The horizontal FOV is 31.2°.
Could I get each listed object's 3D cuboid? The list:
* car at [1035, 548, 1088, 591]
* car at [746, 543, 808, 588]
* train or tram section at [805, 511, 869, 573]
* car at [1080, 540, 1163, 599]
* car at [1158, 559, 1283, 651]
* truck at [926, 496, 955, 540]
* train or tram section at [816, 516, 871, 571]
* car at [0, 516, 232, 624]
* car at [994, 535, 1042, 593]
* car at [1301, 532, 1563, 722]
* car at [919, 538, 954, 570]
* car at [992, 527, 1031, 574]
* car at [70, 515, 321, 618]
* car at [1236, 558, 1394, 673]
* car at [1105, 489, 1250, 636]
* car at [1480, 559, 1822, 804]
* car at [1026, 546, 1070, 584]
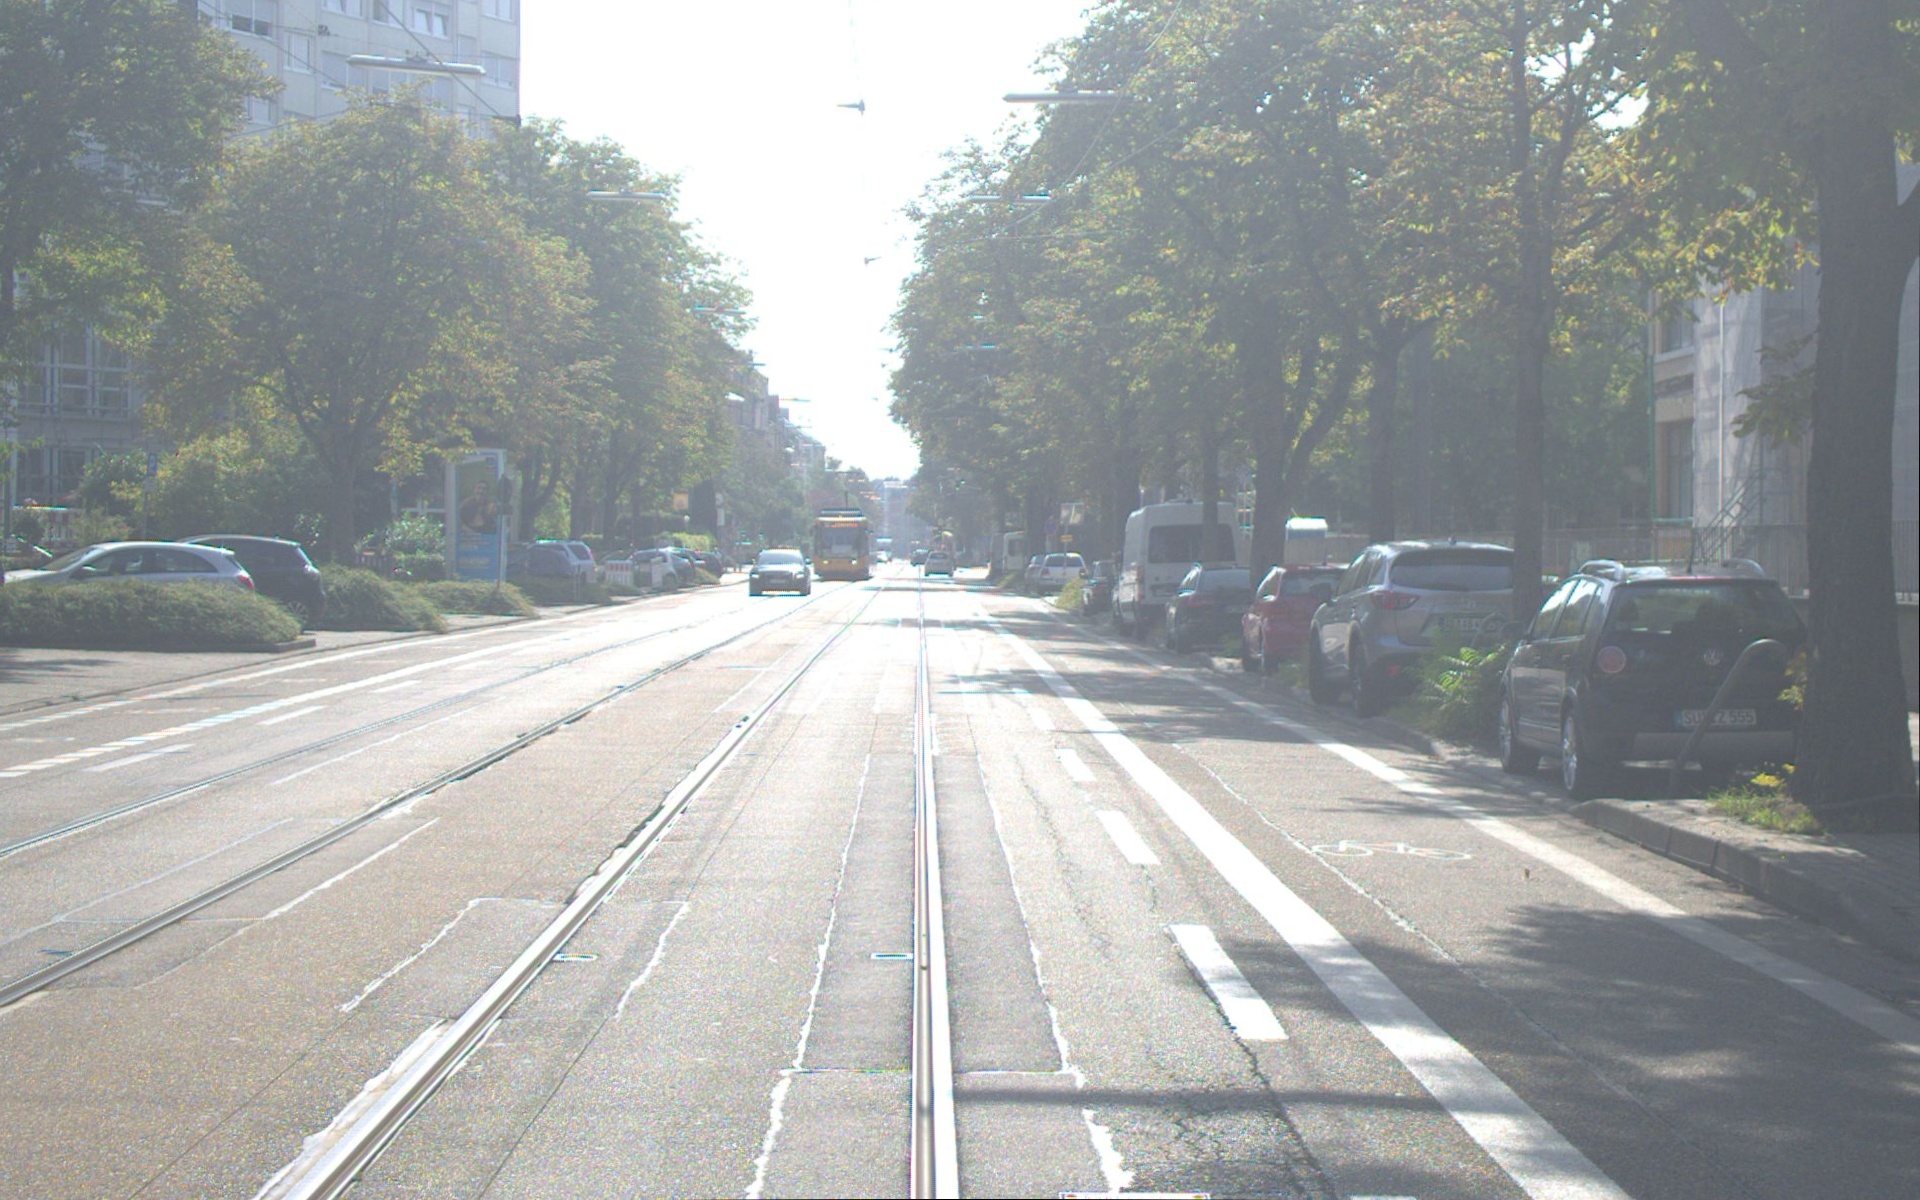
[{"bbox_3d":[3.457,-1.048,117.356,1.689,1.413,3.634,1,1,0],"label":"car"},{"bbox_3d":[-5.746,-1.092,108.302,1.828,1.371,4.513,1,1,-1],"label":"car"},{"bbox_3d":[-6.009,-2.837,170.230,2.729,2.884,15.456,1,1,-1],"label":"train or tram section"},{"bbox_3d":[3.902,-0.765,83.848,1.753,1.373,4.719,-1,1,0],"label":"car"},{"bbox_3d":[4.080,0.050,54.431,1.616,1.369,4.827,0,1,0],"label":"car"},{"bbox_3d":[-1.408,-5.912,248.803,1.860,3.120,4.353,1,1,-3],"label":"truck"},{"bbox_3d":[-6.121,-2.951,181.255,2.728,2.839,6.544,1,1,-1],"label":"train or tram section"},{"bbox_3d":[-12.524,-0.434,48.623,3.986,1.474,1.789,0,1,-30],"label":"car"},{"bbox_3d":[2.678,-1.669,159.128,2.004,2.482,4.477,4,0,0],"label":"car"},{"bbox_3d":[4.550,0.209,33.767,1.753,1.685,4.397,1,1,-2],"label":"car"},{"bbox_3d":[-1.401,-2.722,204.216,1.993,1.831,4.000,1,1,1],"label":"car"},{"bbox_3d":[2.783,-2.684,186.193,2.004,2.466,4.477,1,1,0],"label":"car"},{"bbox_3d":[-12.300,-0.544,55.325,3.633,1.510,1.622,2,1,-25],"label":"car"},{"bbox_3d":[4.528,0.165,44.324,1.616,1.409,4.000,0,1,0],"label":"car"},{"bbox_3d":[4.037,-0.719,64.782,2.082,2.544,5.502,-3,1,-2],"label":"car"},{"bbox_3d":[4.640,0.492,23.554,1.576,1.479,3.738,-1,1,0],"label":"car"},{"bbox_3d":[3.337,-1.344,131.179,1.595,1.413,3.634,1,1,0],"label":"car"}]
